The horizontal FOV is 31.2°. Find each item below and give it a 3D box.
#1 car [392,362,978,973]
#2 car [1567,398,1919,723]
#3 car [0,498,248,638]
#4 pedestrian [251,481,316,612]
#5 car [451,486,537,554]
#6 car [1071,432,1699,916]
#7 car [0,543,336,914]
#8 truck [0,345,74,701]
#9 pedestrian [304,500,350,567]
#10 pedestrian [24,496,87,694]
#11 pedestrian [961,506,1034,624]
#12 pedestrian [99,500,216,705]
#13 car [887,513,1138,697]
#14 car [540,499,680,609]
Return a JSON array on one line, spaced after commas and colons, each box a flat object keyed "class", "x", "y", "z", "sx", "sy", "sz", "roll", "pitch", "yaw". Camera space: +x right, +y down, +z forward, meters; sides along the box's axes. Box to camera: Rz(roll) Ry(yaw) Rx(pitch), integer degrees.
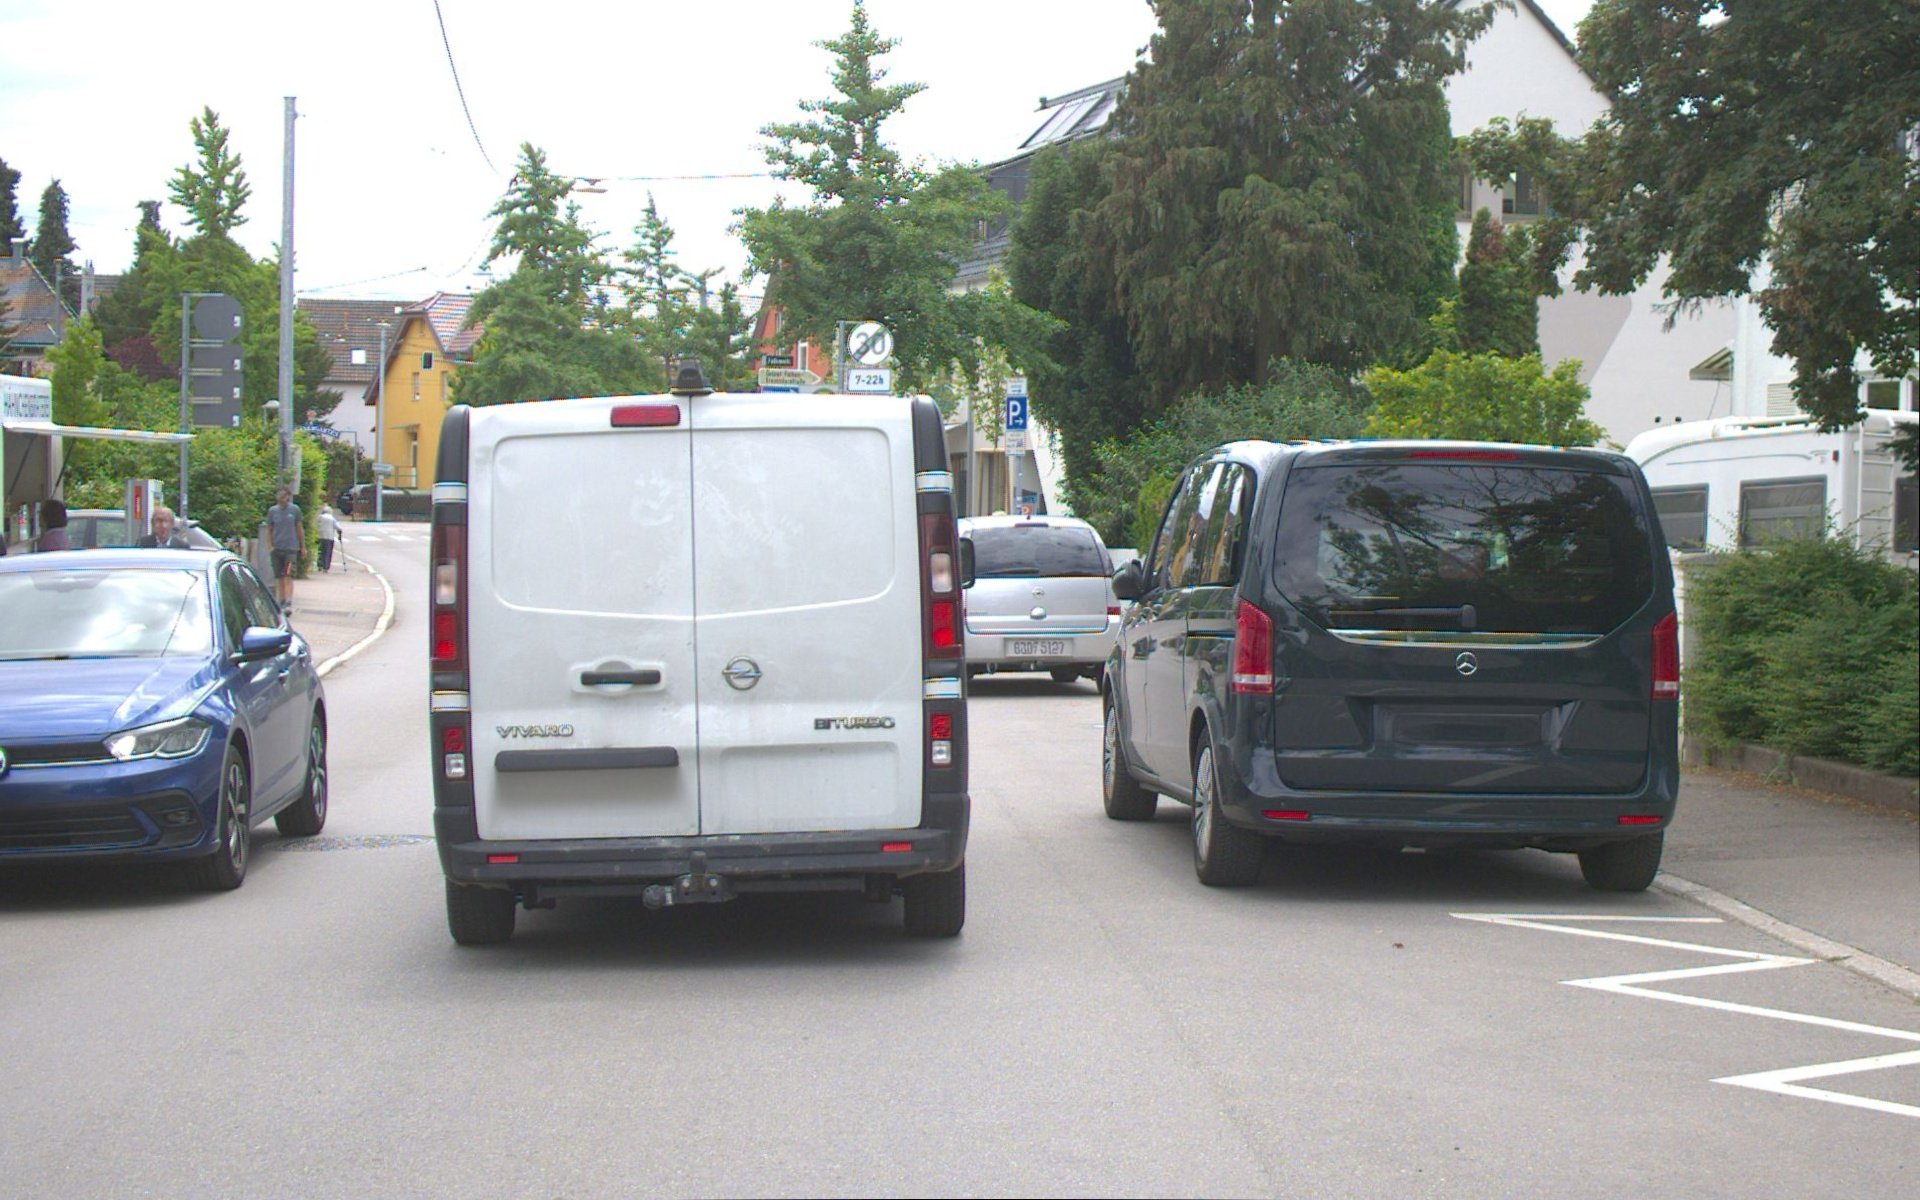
[{"class": "car", "x": -1.078, "y": 0.183, "z": 13.504, "sx": 1.915, "sy": 1.996, "sz": 4.438, "roll": 0, "pitch": 1, "yaw": -5}, {"class": "car", "x": 7.869, "y": -0.357, "z": 31.350, "sx": 2.496, "sy": 2.672, "sz": 5.188, "roll": 3, "pitch": 1, "yaw": -15}, {"class": "car", "x": -11.797, "y": -0.461, "z": 45.704, "sx": 4.310, "sy": 1.690, "sz": 1.798, "roll": 2, "pitch": 1, "yaw": -18}, {"class": "pedestrian", "x": -10.324, "y": -0.814, "z": 52.498, "sx": 0.733, "sy": 1.939, "sz": 1.218, "roll": 3, "pitch": 1, "yaw": -4}, {"class": "car", "x": -12.559, "y": -2.148, "z": 92.482, "sx": 1.993, "sy": 1.776, "sz": 4.001, "roll": -1, "pitch": 1, "yaw": -12}, {"class": "car", "x": 1.734, "y": 0.245, "z": 15.886, "sx": 1.909, "sy": 1.842, "sz": 5.159, "roll": 1, "pitch": 1, "yaw": -4}, {"class": "car", "x": -3.913, "y": 0.482, "z": 15.381, "sx": 1.693, "sy": 1.427, "sz": 3.928, "roll": -2, "pitch": 1, "yaw": -3}, {"class": "truck", "x": -9.200, "y": -0.669, "z": 29.373, "sx": 2.472, "sy": 2.831, "sz": 6.709, "roll": 1, "pitch": 1, "yaw": -9}, {"class": "pedestrian", "x": -14.394, "y": -1.506, "z": 78.173, "sx": 0.876, "sy": 1.480, "sz": 0.455, "roll": 2, "pitch": 1, "yaw": -31}, {"class": "pedestrian", "x": -7.867, "y": -0.048, "z": 29.922, "sx": 0.401, "sy": 1.689, "sz": 0.597, "roll": 3, "pitch": 1, "yaw": -9}, {"class": "pedestrian", "x": 0.530, "y": -0.509, "z": 49.404, "sx": 0.881, "sy": 1.639, "sz": 0.857, "roll": 3, "pitch": 1, "yaw": -6}, {"class": "pedestrian", "x": -6.819, "y": 0.015, "z": 29.241, "sx": 0.722, "sy": 1.681, "sz": 1.109, "roll": 3, "pitch": 1, "yaw": -4}, {"class": "car", "x": 0.419, "y": 0.000, "z": 31.920, "sx": 1.759, "sy": 1.577, "sz": 4.019, "roll": -1, "pitch": 1, "yaw": -7}, {"class": "car", "x": -6.094, "y": -0.816, "z": 59.492, "sx": 1.993, "sy": 1.842, "sz": 4.001, "roll": 0, "pitch": 1, "yaw": -12}]
